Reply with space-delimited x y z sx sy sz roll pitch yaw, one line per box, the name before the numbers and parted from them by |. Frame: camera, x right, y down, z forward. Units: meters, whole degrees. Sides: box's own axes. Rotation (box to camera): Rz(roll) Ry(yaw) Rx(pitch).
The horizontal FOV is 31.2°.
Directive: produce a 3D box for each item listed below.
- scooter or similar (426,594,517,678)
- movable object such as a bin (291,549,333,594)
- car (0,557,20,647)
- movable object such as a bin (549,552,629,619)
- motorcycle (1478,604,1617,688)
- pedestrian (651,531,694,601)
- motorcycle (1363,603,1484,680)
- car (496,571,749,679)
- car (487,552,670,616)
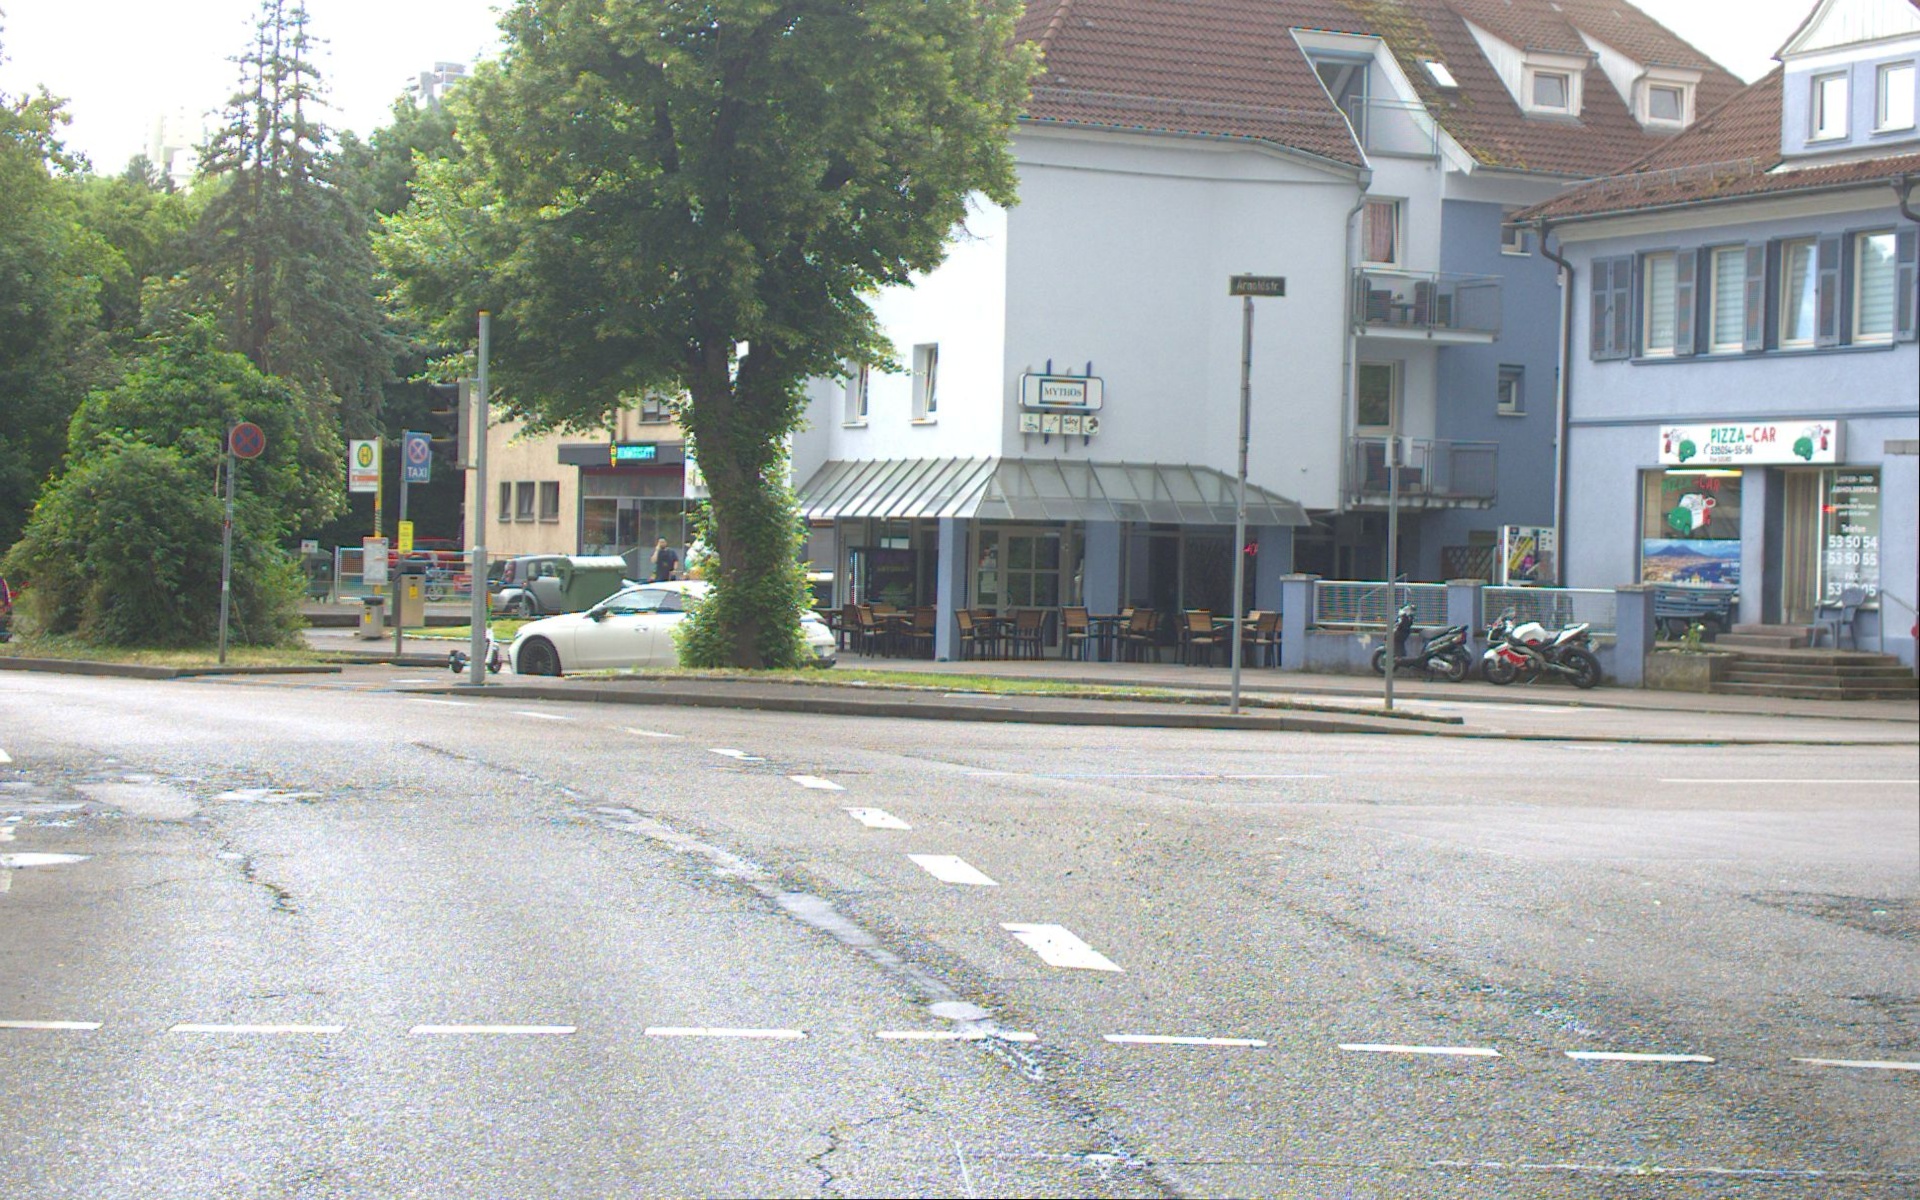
scooter or similar | -6.056 0.434 42.657 0.417 1.008 1.565 1 1 20
movable object such as a bin | -16.244 -0.724 86.175 0.950 1.111 0.383 1 1 -21
car | -16.511 -0.009 53.730 3.590 1.389 1.469 2 1 32
movable object such as a bin | -7.980 -0.318 73.982 1.440 1.404 0.967 1 1 -27
motorcycle | 8.260 0.636 48.388 1.798 1.118 0.693 2 1 38
pedestrian | -6.392 -0.761 76.487 0.676 1.539 0.708 1 1 -34
motorcycle | 6.754 0.598 50.167 1.636 1.060 0.693 2 1 44
car | -4.528 0.318 46.050 3.171 1.350 1.436 2 1 35
car | -8.422 -0.360 75.879 3.733 1.340 1.434 1 1 -26
